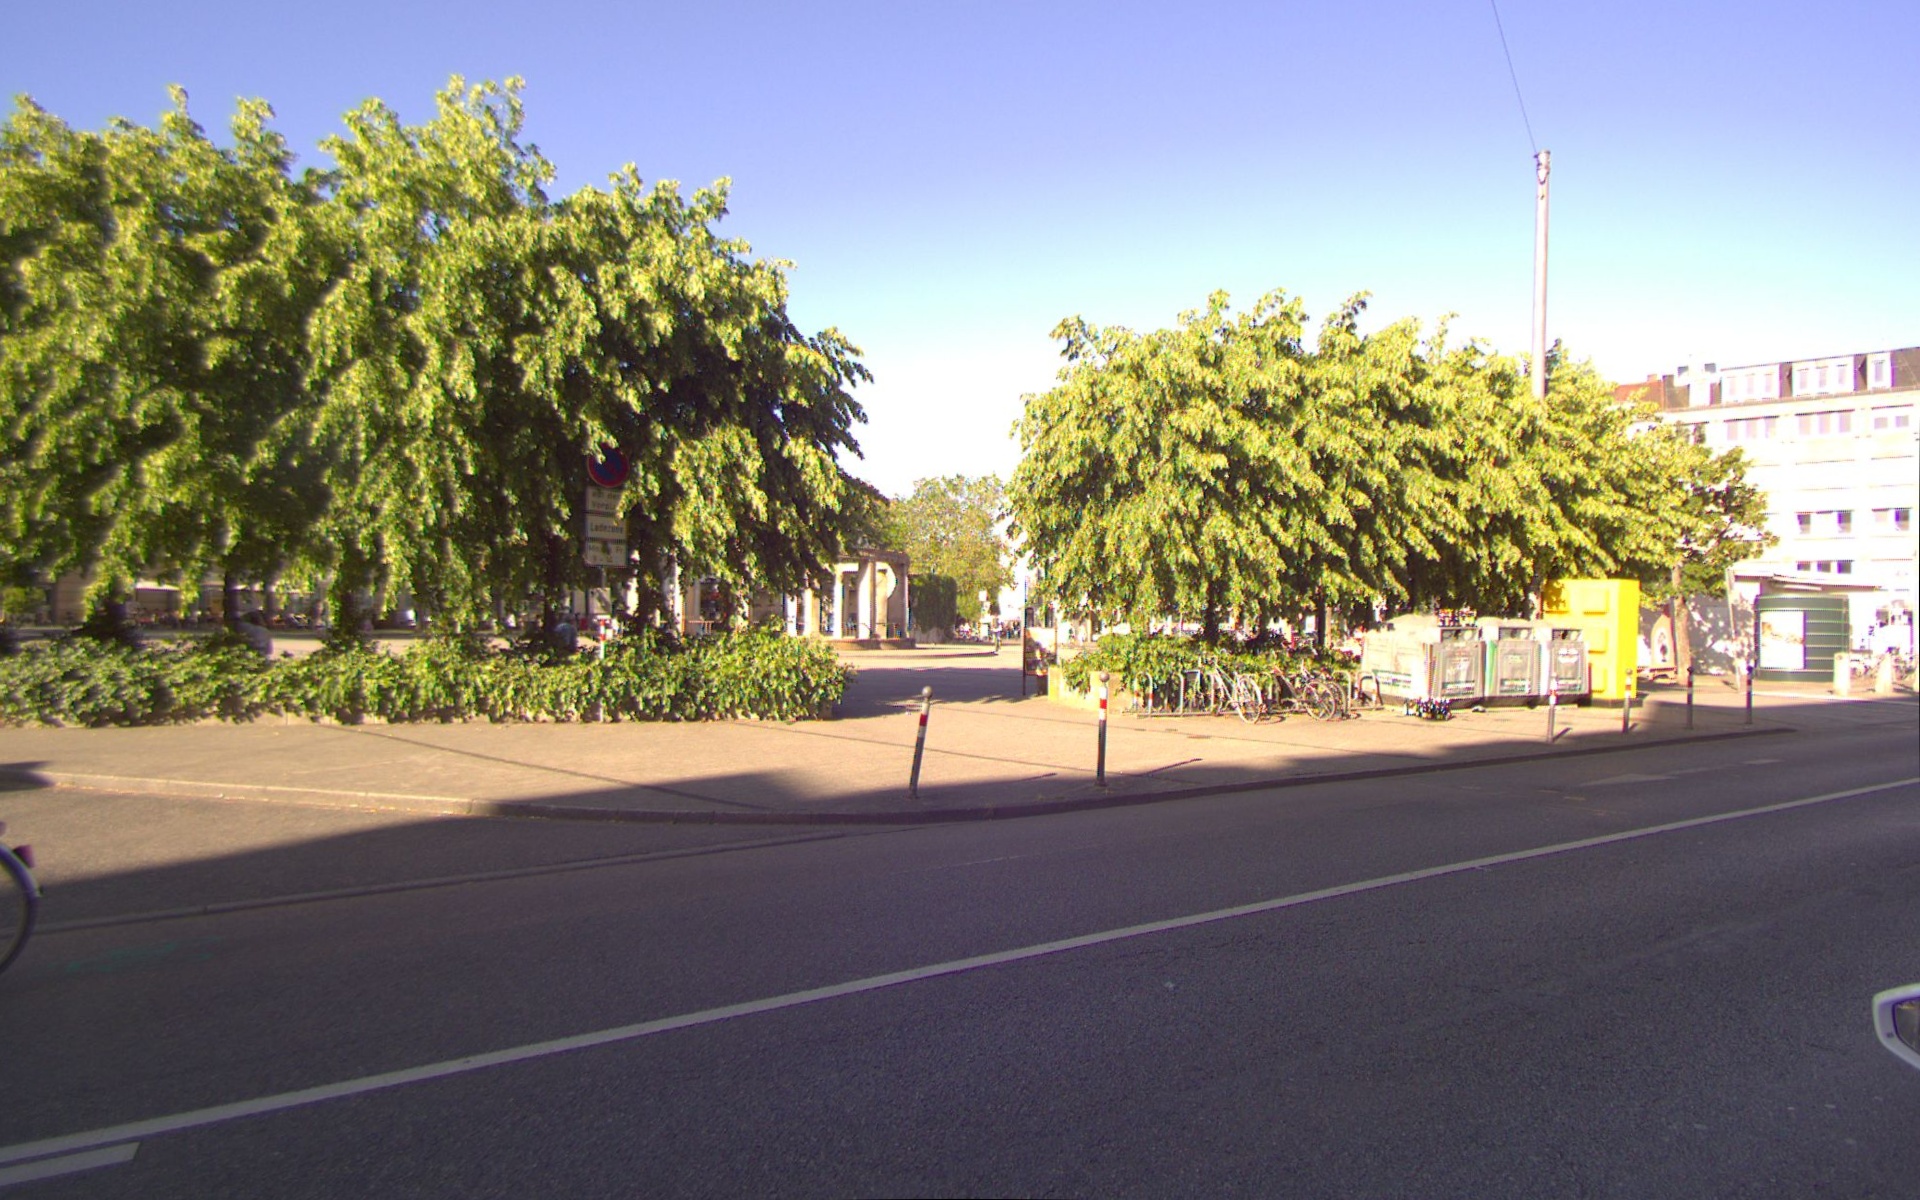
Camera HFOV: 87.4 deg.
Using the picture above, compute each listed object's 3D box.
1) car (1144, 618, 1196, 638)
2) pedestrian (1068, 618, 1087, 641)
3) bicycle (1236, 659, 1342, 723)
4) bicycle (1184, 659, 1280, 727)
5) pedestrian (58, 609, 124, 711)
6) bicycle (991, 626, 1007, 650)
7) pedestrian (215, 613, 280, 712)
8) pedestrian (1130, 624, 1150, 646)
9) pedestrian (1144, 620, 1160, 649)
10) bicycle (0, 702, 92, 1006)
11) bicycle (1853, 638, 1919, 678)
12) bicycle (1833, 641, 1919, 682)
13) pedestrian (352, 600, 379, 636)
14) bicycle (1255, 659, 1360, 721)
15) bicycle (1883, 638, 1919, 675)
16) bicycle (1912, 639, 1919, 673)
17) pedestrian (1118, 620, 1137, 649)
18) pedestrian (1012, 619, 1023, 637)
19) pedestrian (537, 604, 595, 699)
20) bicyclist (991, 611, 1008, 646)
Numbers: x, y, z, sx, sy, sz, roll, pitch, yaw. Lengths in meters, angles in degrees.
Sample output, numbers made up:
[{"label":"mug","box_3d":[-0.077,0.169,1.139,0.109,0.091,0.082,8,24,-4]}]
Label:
[{"label":"car","box_3d":[17.761,2.344,85.163,4.066,1.550,1.546,0,-1,36]},{"label":"pedestrian","box_3d":[9.627,2.401,82.068,1.275,1.867,1.102,2,0,21]},{"label":"bicycle","box_3d":[5.272,1.440,16.182,0.465,0.870,1.659,2,0,-35]},{"label":"bicycle","box_3d":[4.172,1.407,15.524,0.464,0.897,1.558,2,0,-29]},{"label":"pedestrian","box_3d":[-12.861,0.868,14.881,0.615,1.456,0.647,2,0,-32]},{"label":"bicycle","box_3d":[1.974,1.914,50.547,0.593,1.116,1.990,2,0,7]},{"label":"pedestrian","box_3d":[-10.853,0.931,15.298,0.581,1.456,0.615,2,0,33]},{"label":"pedestrian","box_3d":[10.544,2.054,58.967,0.884,1.230,0.866,2,0,-8]},{"label":"pedestrian","box_3d":[10.544,1.904,55.160,0.761,1.541,0.838,2,0,6]},{"label":"bicycle","box_3d":[-4.682,1.018,3.849,1.936,1.177,0.613,2,-3,-32]},{"label":"bicycle","box_3d":[33.141,2.037,35.064,0.923,1.291,2.764,2,0,-32]},{"label":"bicycle","box_3d":[31.218,2.061,33.761,0.932,1.211,2.645,2,0,-32]},{"label":"pedestrian","box_3d":[-26.503,0.803,44.789,0.680,1.550,0.740,2,0,24]},{"label":"bicycle","box_3d":[5.671,1.450,16.477,0.465,0.870,1.654,2,0,-35]},{"label":"bicycle","box_3d":[35.259,2.081,36.130,0.932,1.287,2.859,2,0,-32]},{"label":"bicycle","box_3d":[37.243,2.152,37.274,0.932,1.276,2.648,2,0,-32]},{"label":"pedestrian","box_3d":[9.348,1.925,55.995,0.904,1.541,0.936,2,0,15]},{"label":"pedestrian","box_3d":[6.103,2.984,106.745,0.891,1.845,0.952,2,0,17]},{"label":"pedestrian","box_3d":[-6.608,0.844,16.855,0.688,1.541,0.676,2,0,-41]},{"label":"bicyclist","box_3d":[1.980,1.410,50.422,0.772,1.722,0.896,2,0,6]}]
